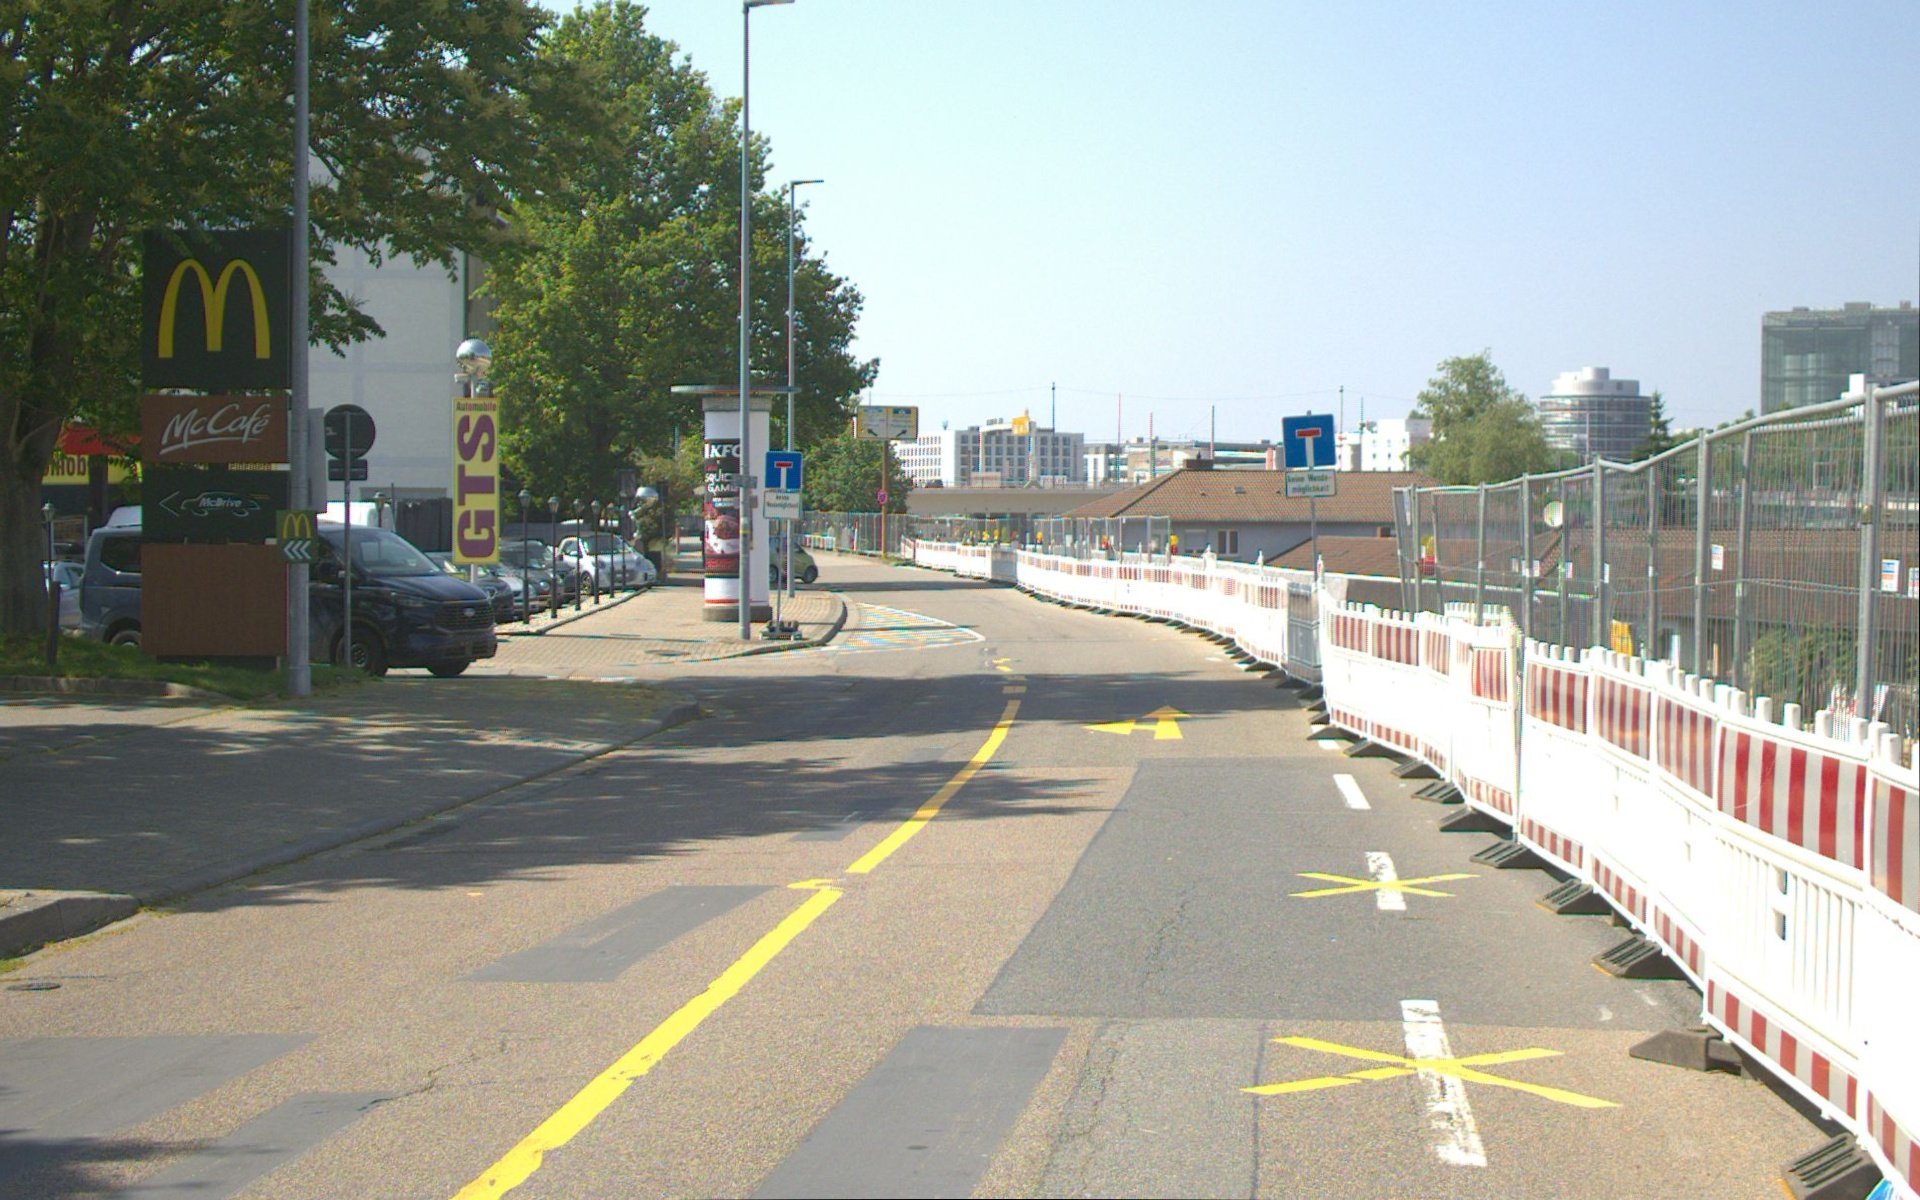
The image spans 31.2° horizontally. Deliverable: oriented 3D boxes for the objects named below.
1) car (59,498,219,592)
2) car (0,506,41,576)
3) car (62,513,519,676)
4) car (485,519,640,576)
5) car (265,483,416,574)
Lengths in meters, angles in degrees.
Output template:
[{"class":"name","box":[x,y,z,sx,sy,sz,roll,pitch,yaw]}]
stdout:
[{"class":"car","box":[-17.050,-1.144,71.253,1.993,1.897,4.000,0,1,-33]},{"class":"car","box":[-20.235,-1.223,70.853,1.567,1.416,3.688,0,1,-30]},{"class":"car","box":[-8.308,-0.111,42.603,5.370,1.928,1.998,1,1,23]},{"class":"car","box":[-10.329,-1.365,89.322,3.679,1.416,1.571,1,1,20]},{"class":"car","box":[-13.552,-1.556,75.048,1.823,1.923,4.000,0,1,-33]}]
